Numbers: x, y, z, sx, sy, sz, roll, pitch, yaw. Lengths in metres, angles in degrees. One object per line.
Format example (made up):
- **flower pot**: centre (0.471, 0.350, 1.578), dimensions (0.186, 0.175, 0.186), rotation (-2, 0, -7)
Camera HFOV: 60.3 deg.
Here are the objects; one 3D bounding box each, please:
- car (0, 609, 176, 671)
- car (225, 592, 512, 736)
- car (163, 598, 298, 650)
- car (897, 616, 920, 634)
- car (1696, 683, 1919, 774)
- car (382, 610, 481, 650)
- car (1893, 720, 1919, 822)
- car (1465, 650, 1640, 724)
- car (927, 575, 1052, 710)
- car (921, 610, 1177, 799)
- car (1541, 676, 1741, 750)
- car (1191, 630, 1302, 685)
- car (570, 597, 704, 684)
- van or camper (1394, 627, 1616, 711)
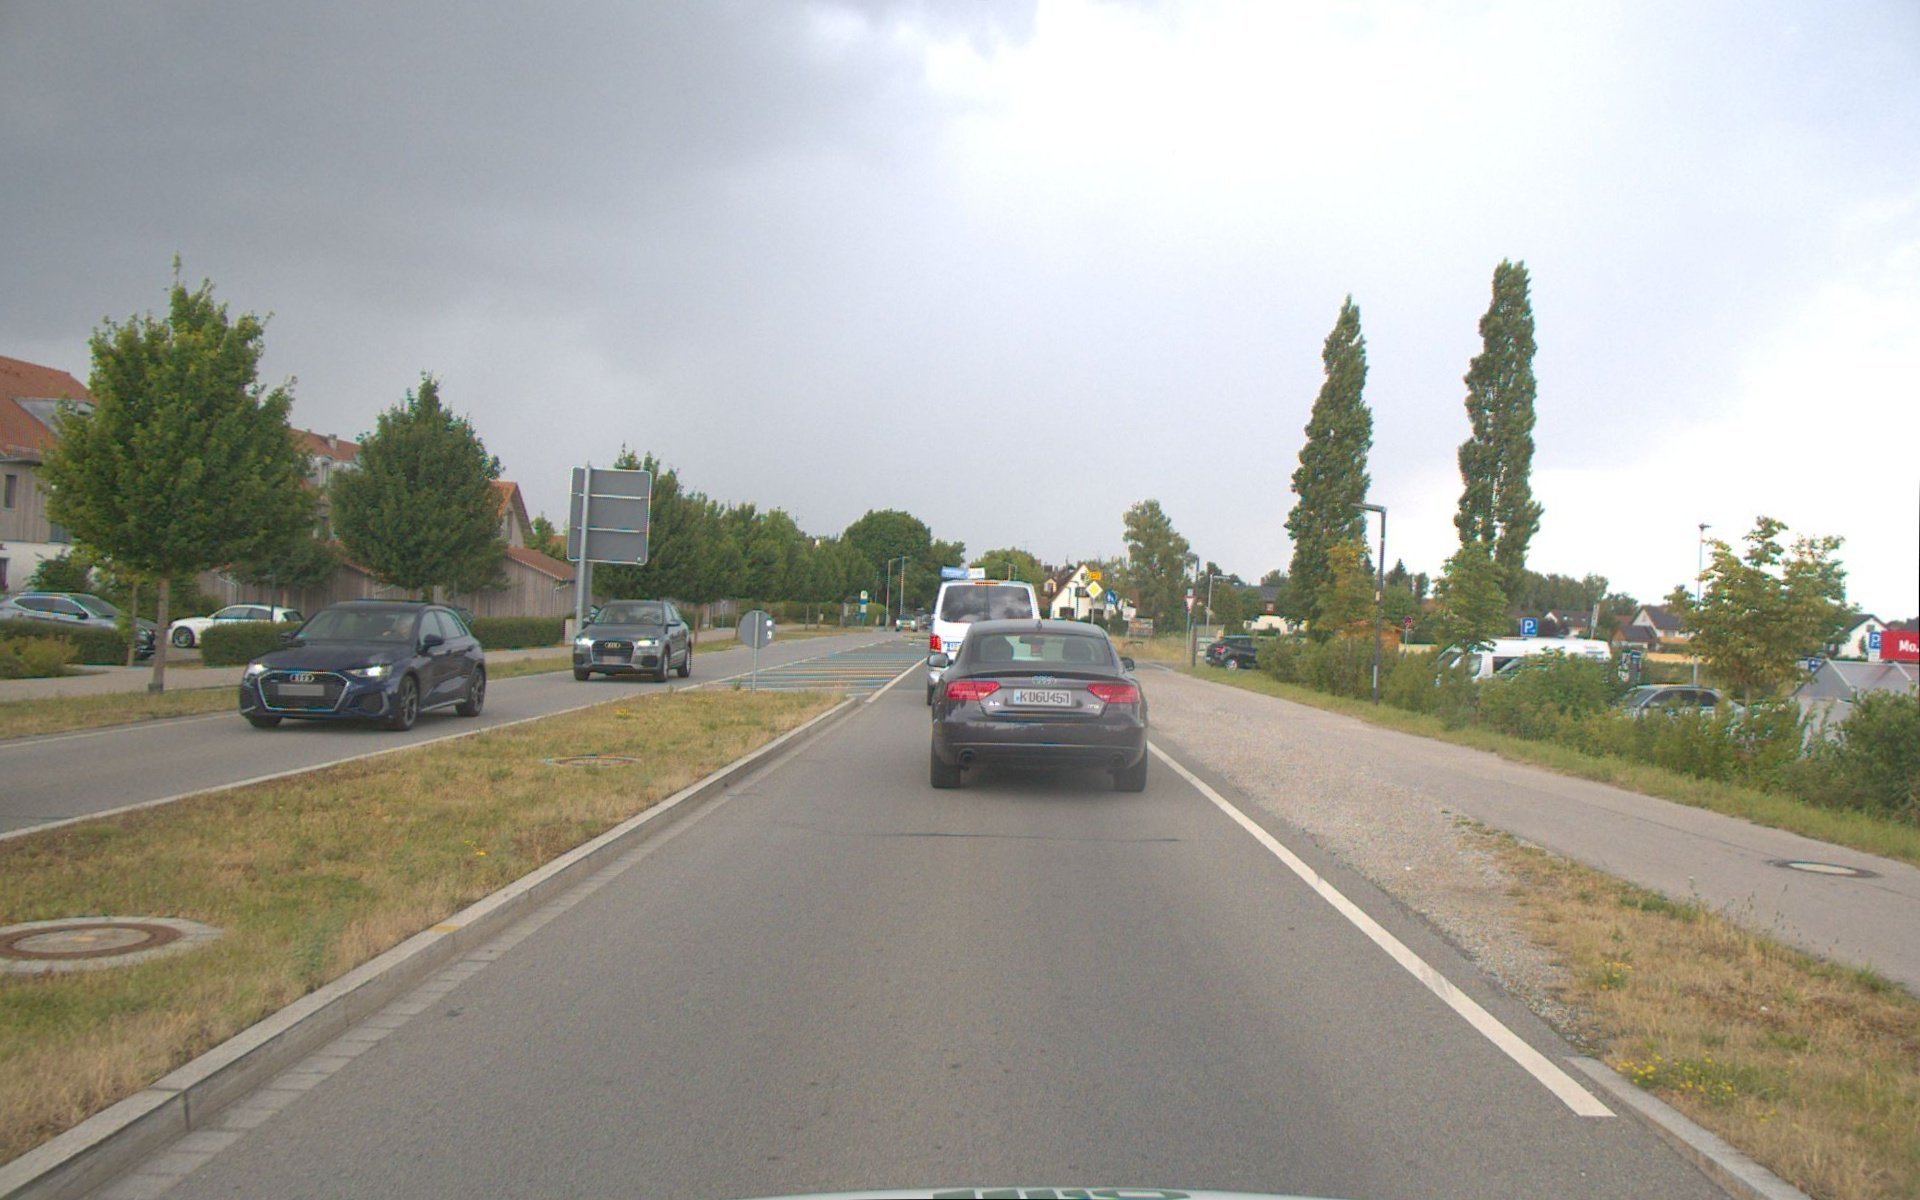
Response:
- **car**: centre (-22.730, 1.000, 41.892), dimensions (4.804, 1.455, 1.906), rotation (1, 0, 2)
- **car**: centre (-6.897, 0.692, 19.822), dimensions (1.788, 1.515, 4.350), rotation (1, 0, 1)
- **car**: centre (-22.636, 0.732, 51.384), dimensions (3.442, 1.515, 1.563), rotation (1, 0, 0)
- **car**: centre (-4.310, 2.095, 138.263), dimensions (1.734, 1.469, 4.000), rotation (1, 0, 1)
- **car**: centre (16.244, 2.427, 31.525), dimensions (3.680, 1.565, 1.675), rotation (1, 0, -1)
- **car**: centre (-21.208, 1.199, 66.421), dimensions (3.442, 1.515, 1.563), rotation (1, 0, 0)
- **car**: centre (17.059, 2.767, 26.151), dimensions (3.680, 1.565, 1.675), rotation (1, 0, -1)
- **car**: centre (17.690, 2.594, 49.493), dimensions (4.500, 2.049, 1.999), rotation (1, 0, -1)
- **car**: centre (0.418, 0.656, 27.127), dimensions (1.789, 1.947, 3.999), rotation (4, 0, -1)
- **car**: centre (0.639, 0.822, 14.885), dimensions (1.789, 1.413, 4.384), rotation (1, 0, -4)
- **car**: centre (16.717, 2.752, 40.748), dimensions (4.062, 1.626, 2.080), rotation (1, 0, -1)
- **car**: centre (11.293, 2.265, 65.394), dimensions (3.912, 2.049, 1.996), rotation (1, 0, -8)
- **car**: centre (-6.433, 0.779, 33.391), dimensions (1.788, 1.610, 4.216), rotation (1, 0, 1)
- **van or camper**: centre (17.388, 2.173, 52.959), dimensions (6.336, 2.507, 2.281), rotation (1, 0, -2)
